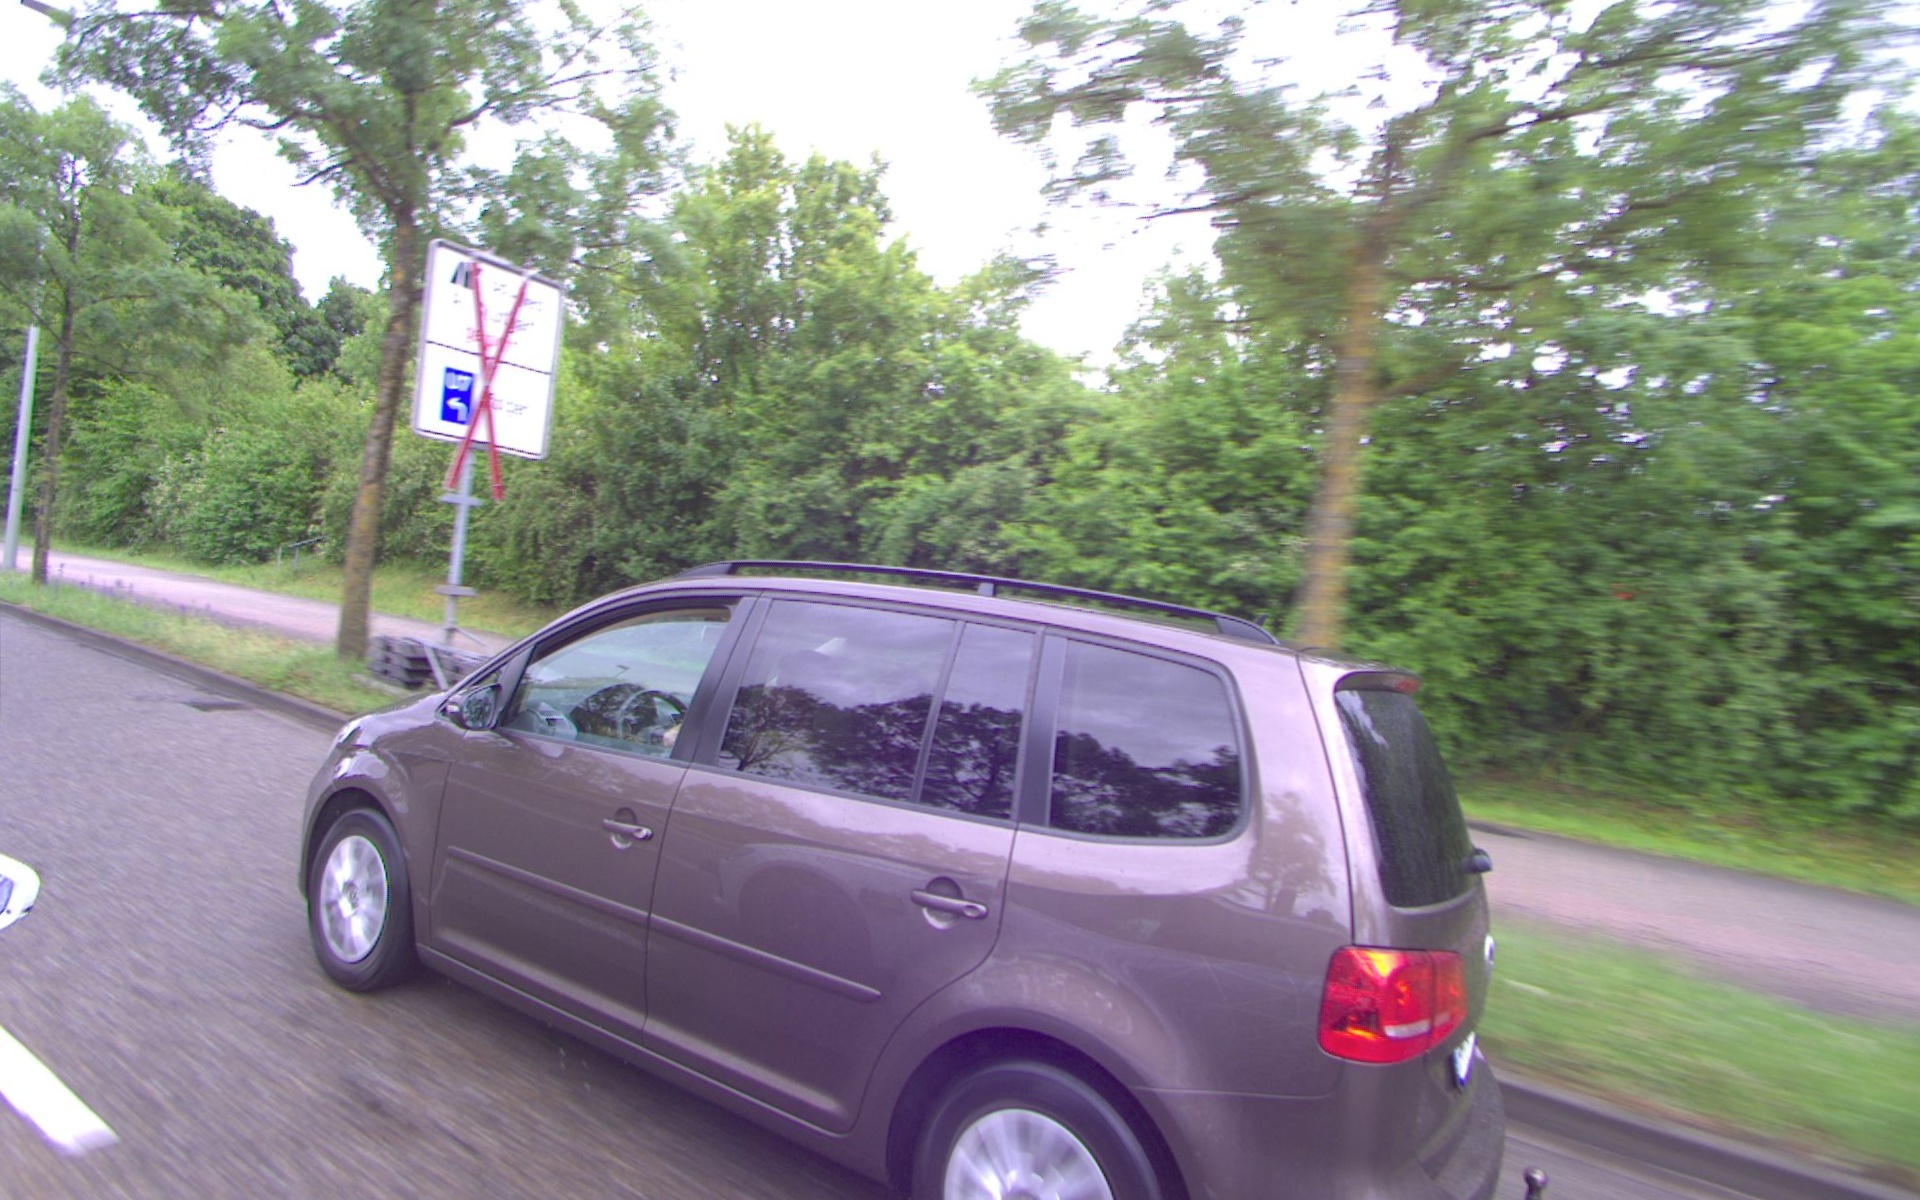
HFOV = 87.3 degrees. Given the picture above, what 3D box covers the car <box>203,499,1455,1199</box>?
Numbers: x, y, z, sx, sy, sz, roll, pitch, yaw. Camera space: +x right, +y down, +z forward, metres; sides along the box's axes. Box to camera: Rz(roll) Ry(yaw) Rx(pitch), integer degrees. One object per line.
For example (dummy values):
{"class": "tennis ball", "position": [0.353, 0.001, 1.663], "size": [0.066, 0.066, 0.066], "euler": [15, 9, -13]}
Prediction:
{"class": "car", "position": [-0.661, 0.704, 3.558], "size": [4.061, 1.615, 1.717], "euler": [7, -1, 31]}
